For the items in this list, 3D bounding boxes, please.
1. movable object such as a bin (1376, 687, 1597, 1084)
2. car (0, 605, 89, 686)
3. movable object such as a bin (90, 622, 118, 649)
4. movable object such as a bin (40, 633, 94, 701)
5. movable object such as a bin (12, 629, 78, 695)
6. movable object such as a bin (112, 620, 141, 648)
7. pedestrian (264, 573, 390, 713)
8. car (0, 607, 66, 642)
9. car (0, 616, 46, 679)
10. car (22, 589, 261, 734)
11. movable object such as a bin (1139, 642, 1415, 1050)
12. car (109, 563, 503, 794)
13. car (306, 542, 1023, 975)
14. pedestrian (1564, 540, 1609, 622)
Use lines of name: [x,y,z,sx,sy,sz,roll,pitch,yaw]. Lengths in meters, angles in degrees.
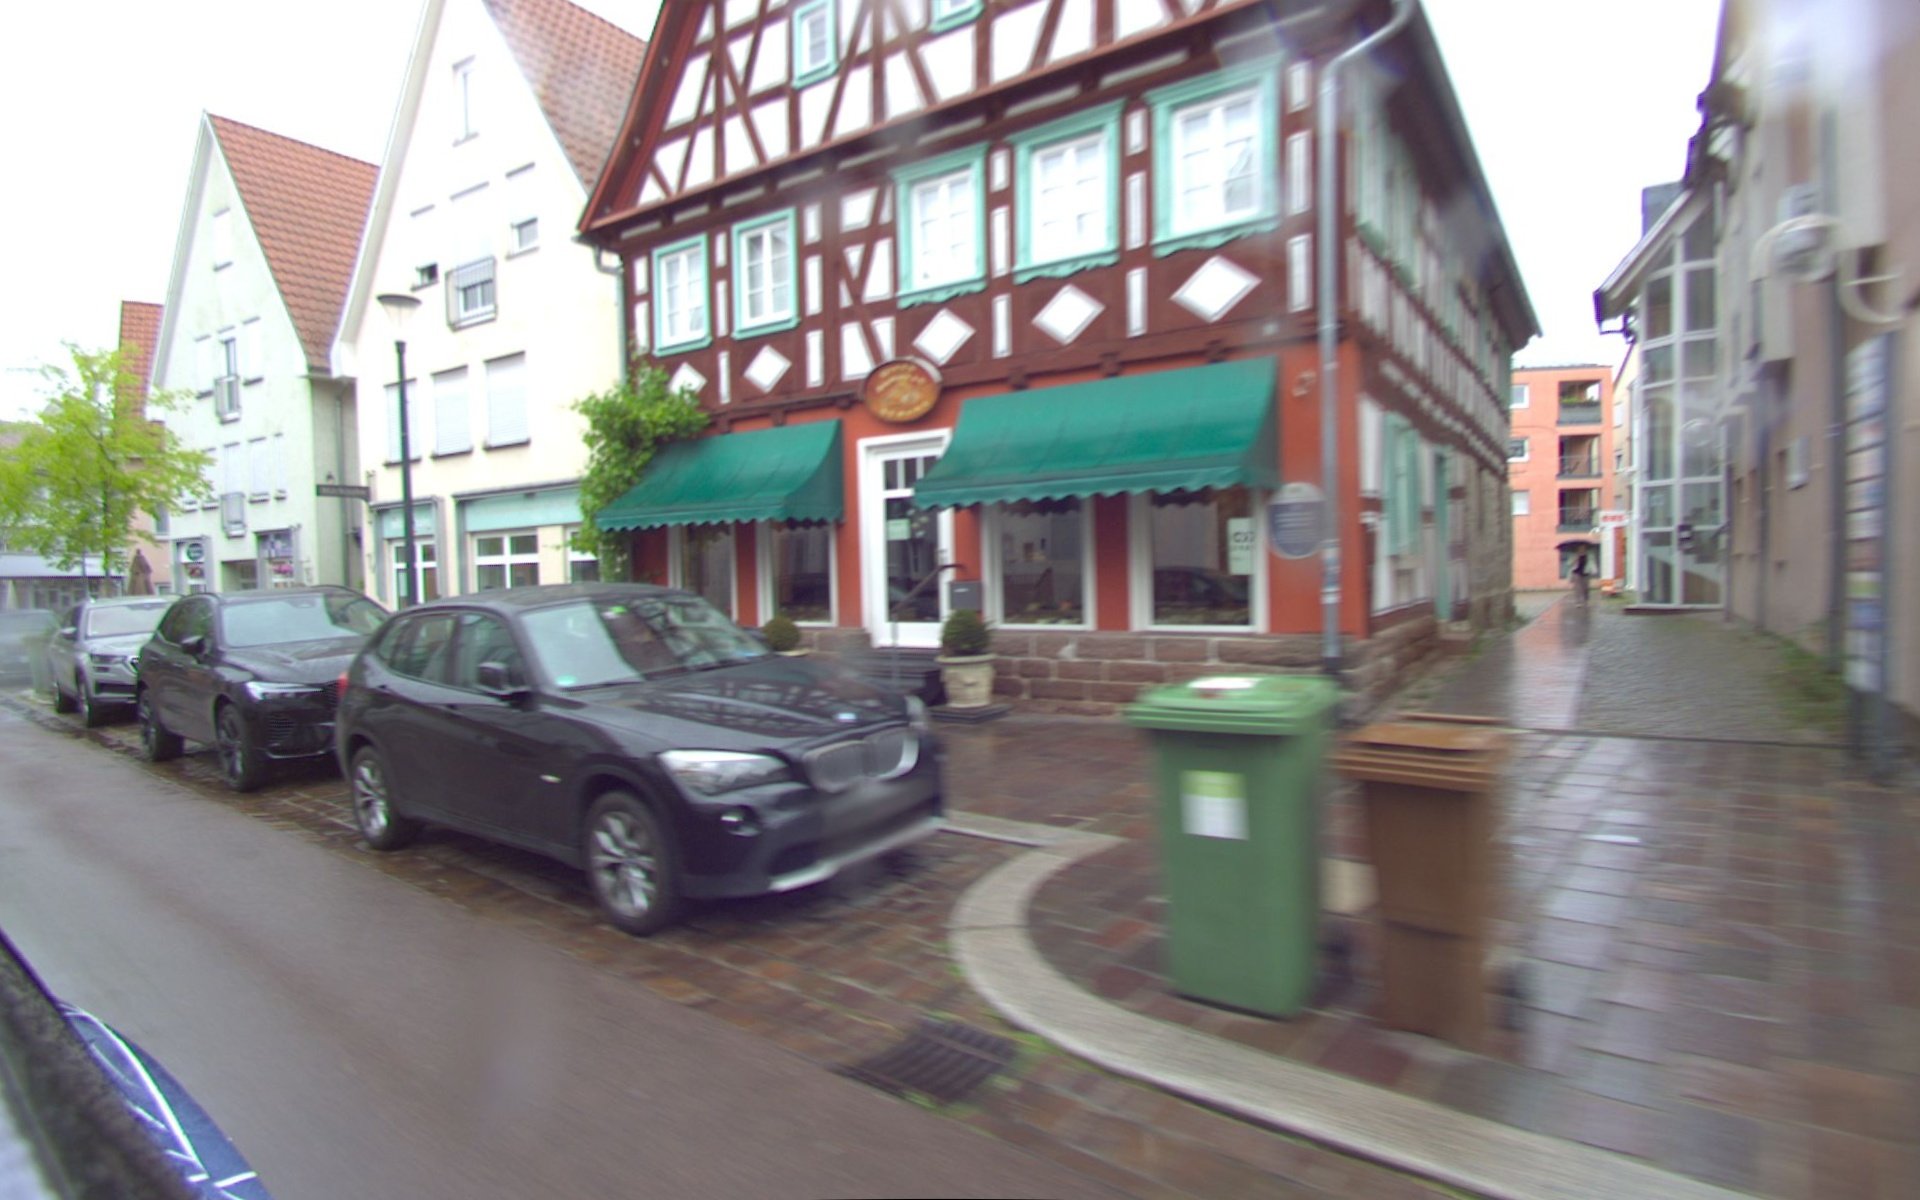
movable object such as a bin: [1.587,0.781,3.029,0.498,0.945,0.603,0,3,37]
car: [-20.593,0.970,22.107,4.328,1.535,1.842,-1,3,43]
movable object such as a bin: [-37.662,1.566,44.555,0.690,1.152,0.721,-2,0,-18]
movable object such as a bin: [-14.866,1.102,16.854,0.534,1.054,0.546,0,3,37]
movable object such as a bin: [-16.611,1.108,18.381,0.743,1.091,0.739,1,3,38]
movable object such as a bin: [-36.910,1.502,44.841,0.690,1.130,0.721,-5,3,-18]
pedestrian: [-8.115,0.521,13.037,1.156,1.694,0.793,-2,2,-18]
car: [-46.495,1.194,50.002,1.763,1.479,3.961,-2,3,-14]
car: [-24.892,1.215,25.520,4.611,1.453,1.845,-2,1,37]
car: [-11.834,0.721,14.521,4.640,1.678,1.806,1,3,41]
movable object such as a bin: [1.078,0.723,3.387,0.675,1.090,0.762,0,2,36]
car: [-6.402,0.618,9.672,4.638,1.678,1.806,-2,1,40]
car: [-1.927,0.614,5.784,4.286,1.549,1.762,-2,3,40]
pedestrian: [15.958,-0.497,25.789,0.962,2.028,1.040,0,3,32]
